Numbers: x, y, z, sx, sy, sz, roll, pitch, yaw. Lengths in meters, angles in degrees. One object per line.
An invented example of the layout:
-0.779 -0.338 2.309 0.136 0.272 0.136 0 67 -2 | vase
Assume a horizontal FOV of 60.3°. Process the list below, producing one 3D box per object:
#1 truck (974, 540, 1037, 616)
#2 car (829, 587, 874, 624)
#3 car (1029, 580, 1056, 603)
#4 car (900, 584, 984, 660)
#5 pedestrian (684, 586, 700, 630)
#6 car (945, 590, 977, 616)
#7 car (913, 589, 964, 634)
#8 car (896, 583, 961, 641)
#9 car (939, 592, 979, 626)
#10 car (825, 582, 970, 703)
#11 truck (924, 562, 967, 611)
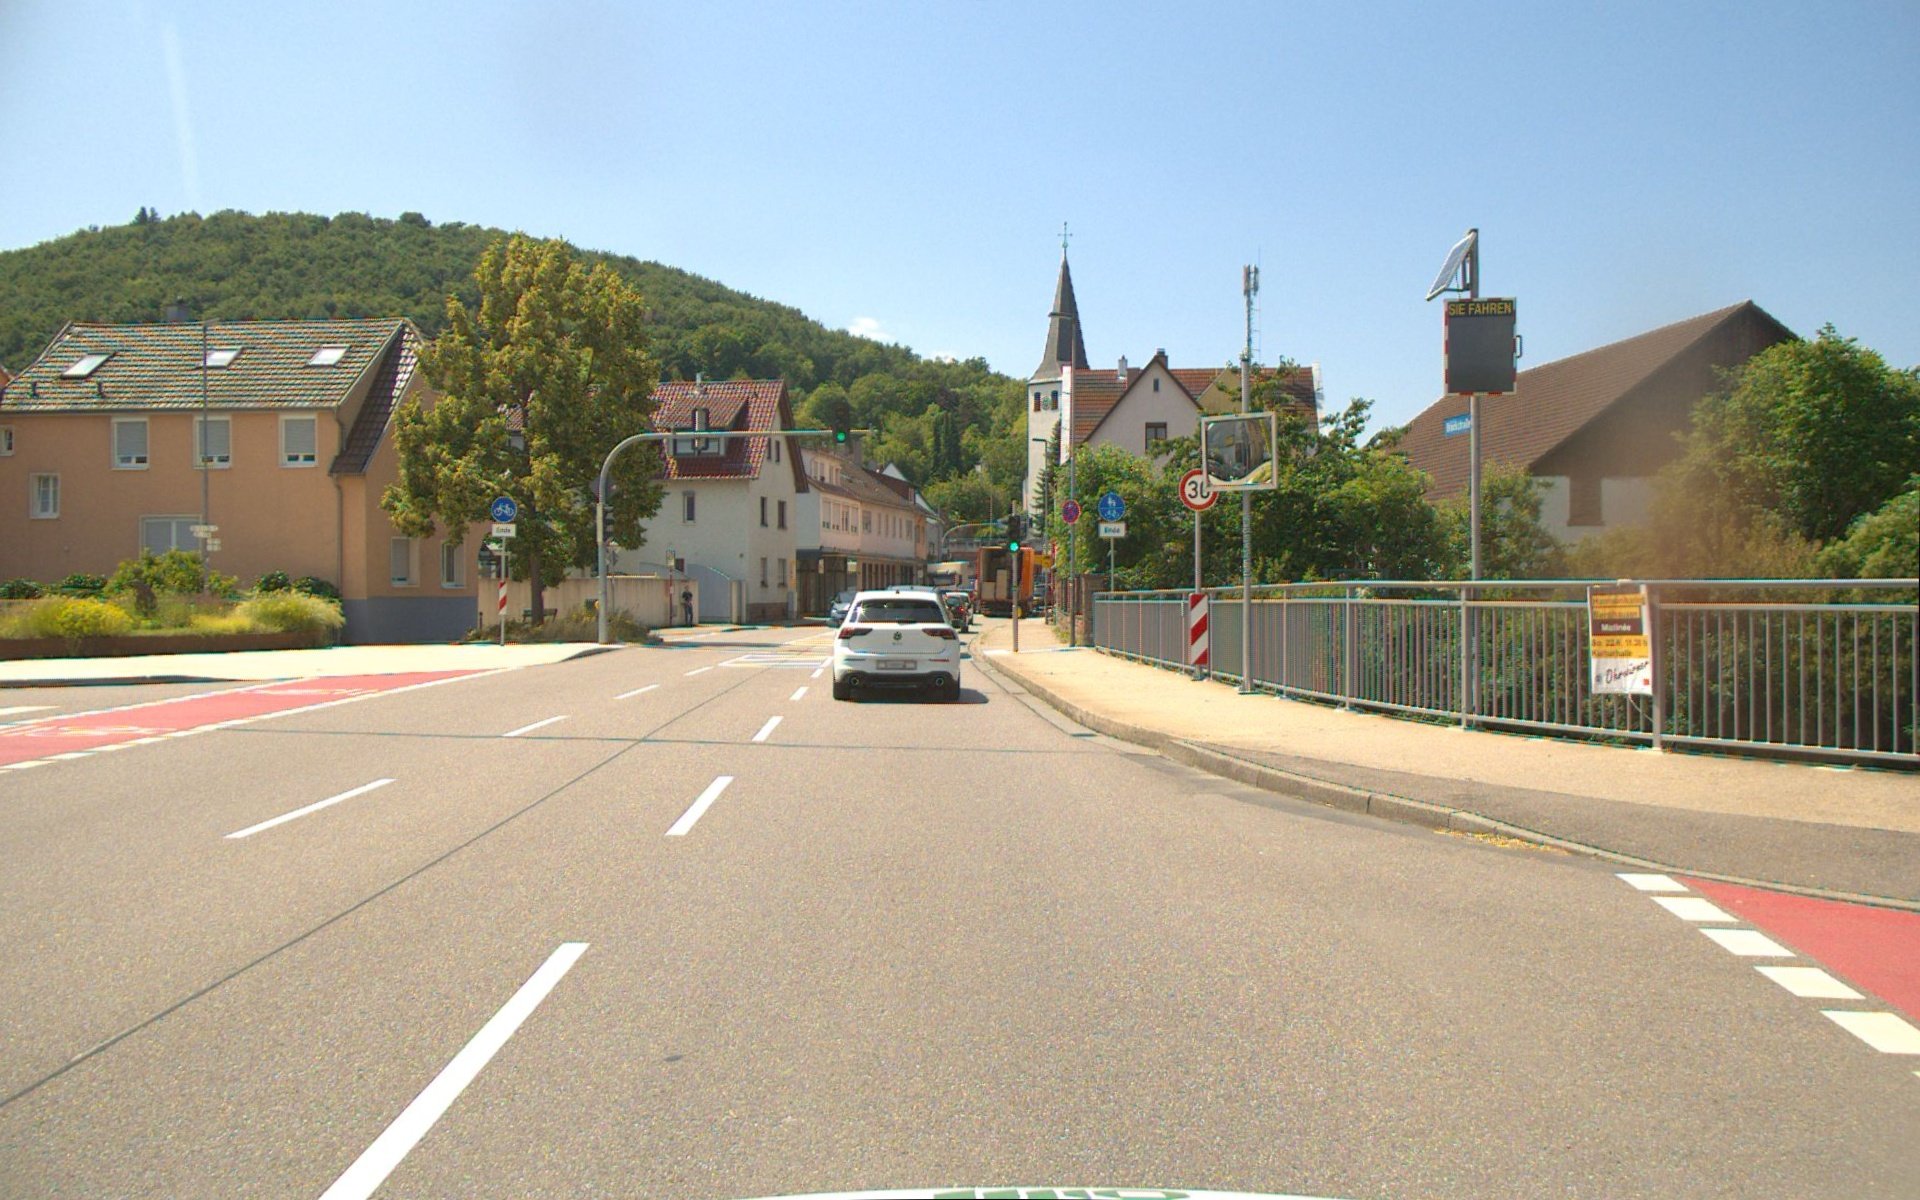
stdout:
2.797 -1.203 98.880 3.296 4.243 9.523 -1 0 4 | truck
-5.215 0.265 79.737 1.777 1.678 4.001 1 0 1 | car
5.666 -0.574 114.011 1.777 1.545 4.001 -1 0 1 | car
-0.374 0.504 38.835 1.777 1.657 4.001 -1 0 1 | car
-11.230 0.335 69.216 0.425 1.795 0.557 -1 0 20 | pedestrian
0.083 0.179 101.148 1.777 1.545 4.001 -1 0 1 | car
-0.802 0.454 63.952 1.777 1.657 4.001 -1 0 1 | car
-0.938 0.367 50.653 1.777 1.657 4.001 -1 0 1 | car
-0.019 0.424 79.700 1.777 1.545 4.001 -1 0 1 | car
-0.796 0.565 23.464 1.777 1.545 4.001 1 0 1 | car
-0.977 -0.896 116.791 2.449 3.292 6.043 -1 0 4 | truck
